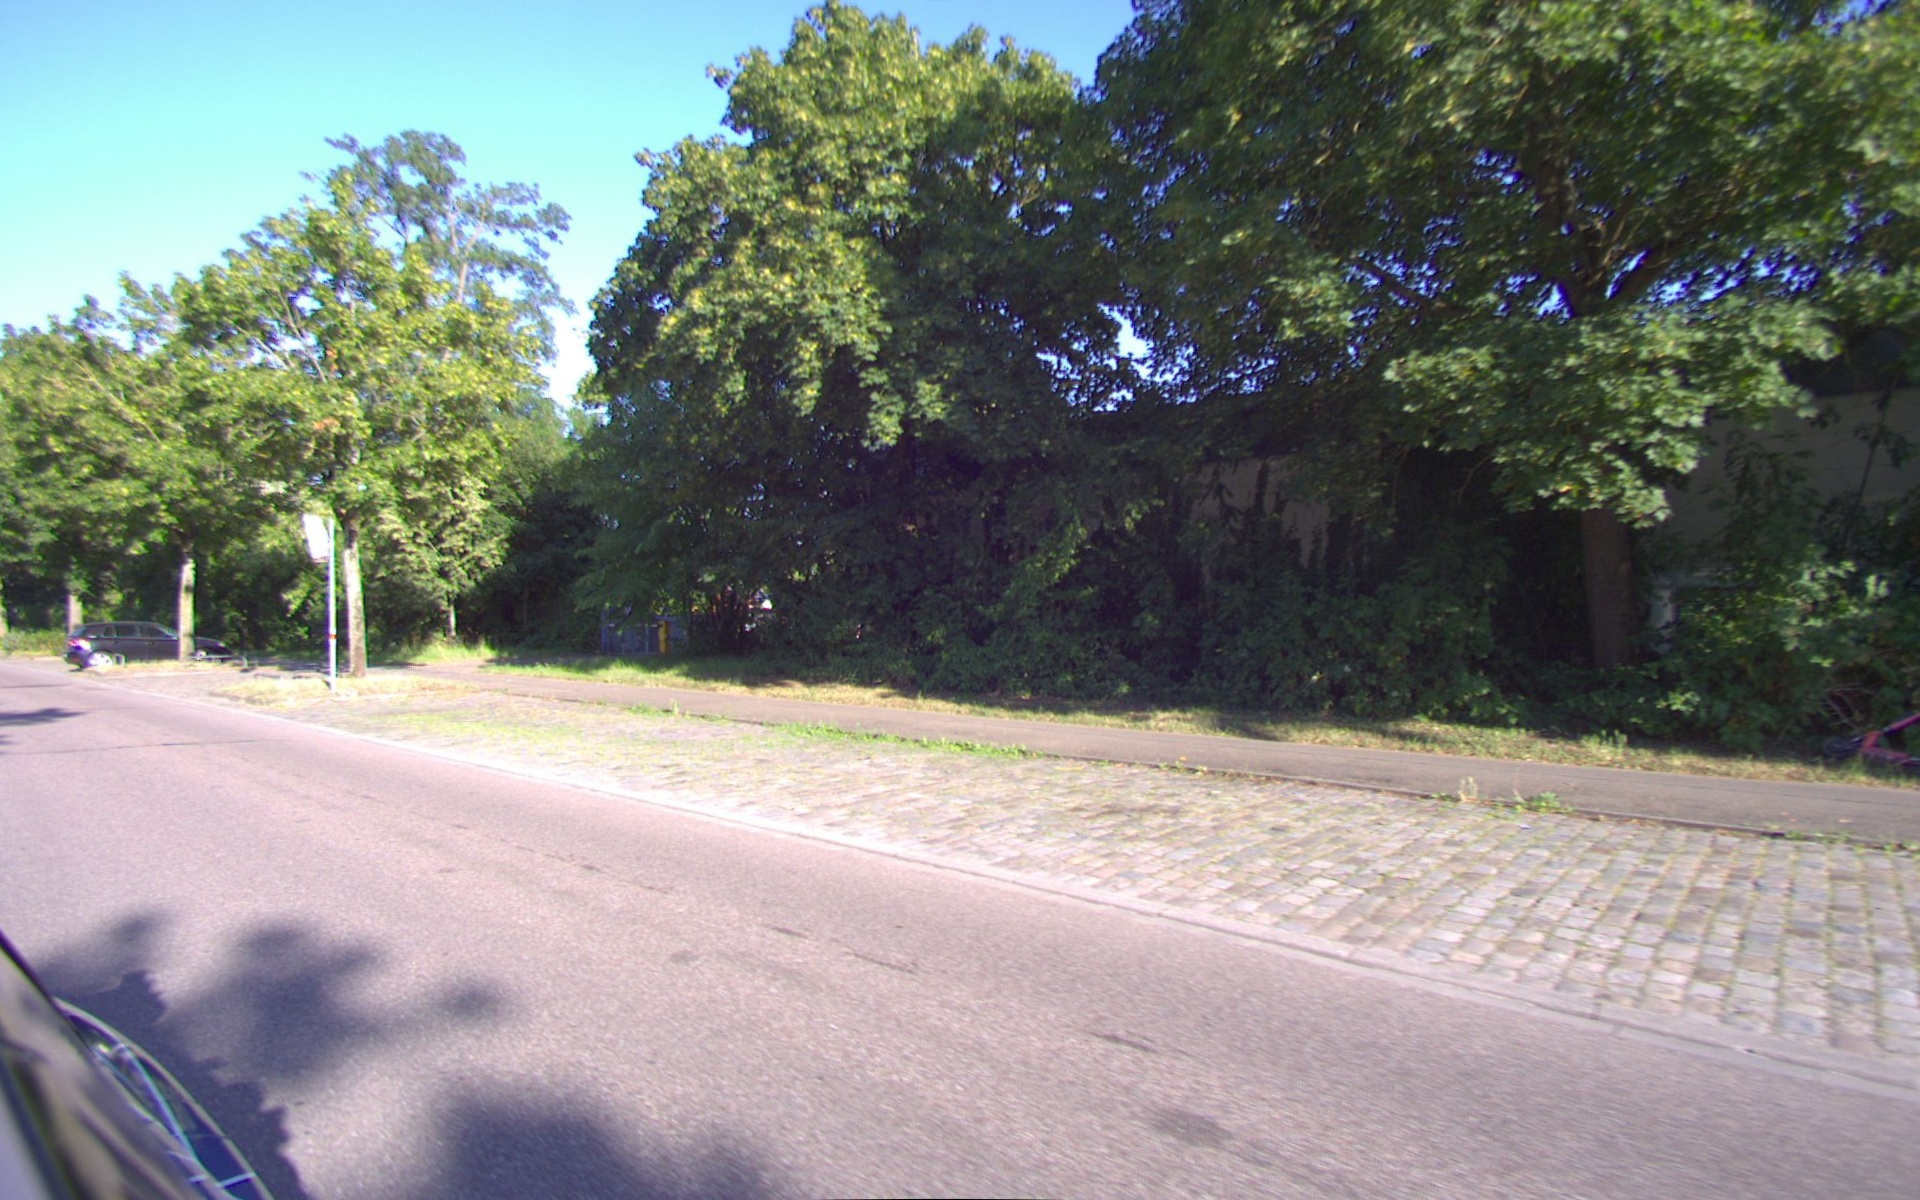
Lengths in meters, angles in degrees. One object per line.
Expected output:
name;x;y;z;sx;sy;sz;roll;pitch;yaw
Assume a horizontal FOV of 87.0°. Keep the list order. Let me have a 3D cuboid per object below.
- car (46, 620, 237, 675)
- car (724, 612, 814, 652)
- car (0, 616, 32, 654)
car;-25.486;1.429;31.635;1.997;1.490;4.317;-1;0;38
car;-8.769;1.488;46.316;3.994;1.741;1.890;-2;-3;38
car;-53.748;1.956;54.653;2.169;2.035;4.963;-1;0;34
